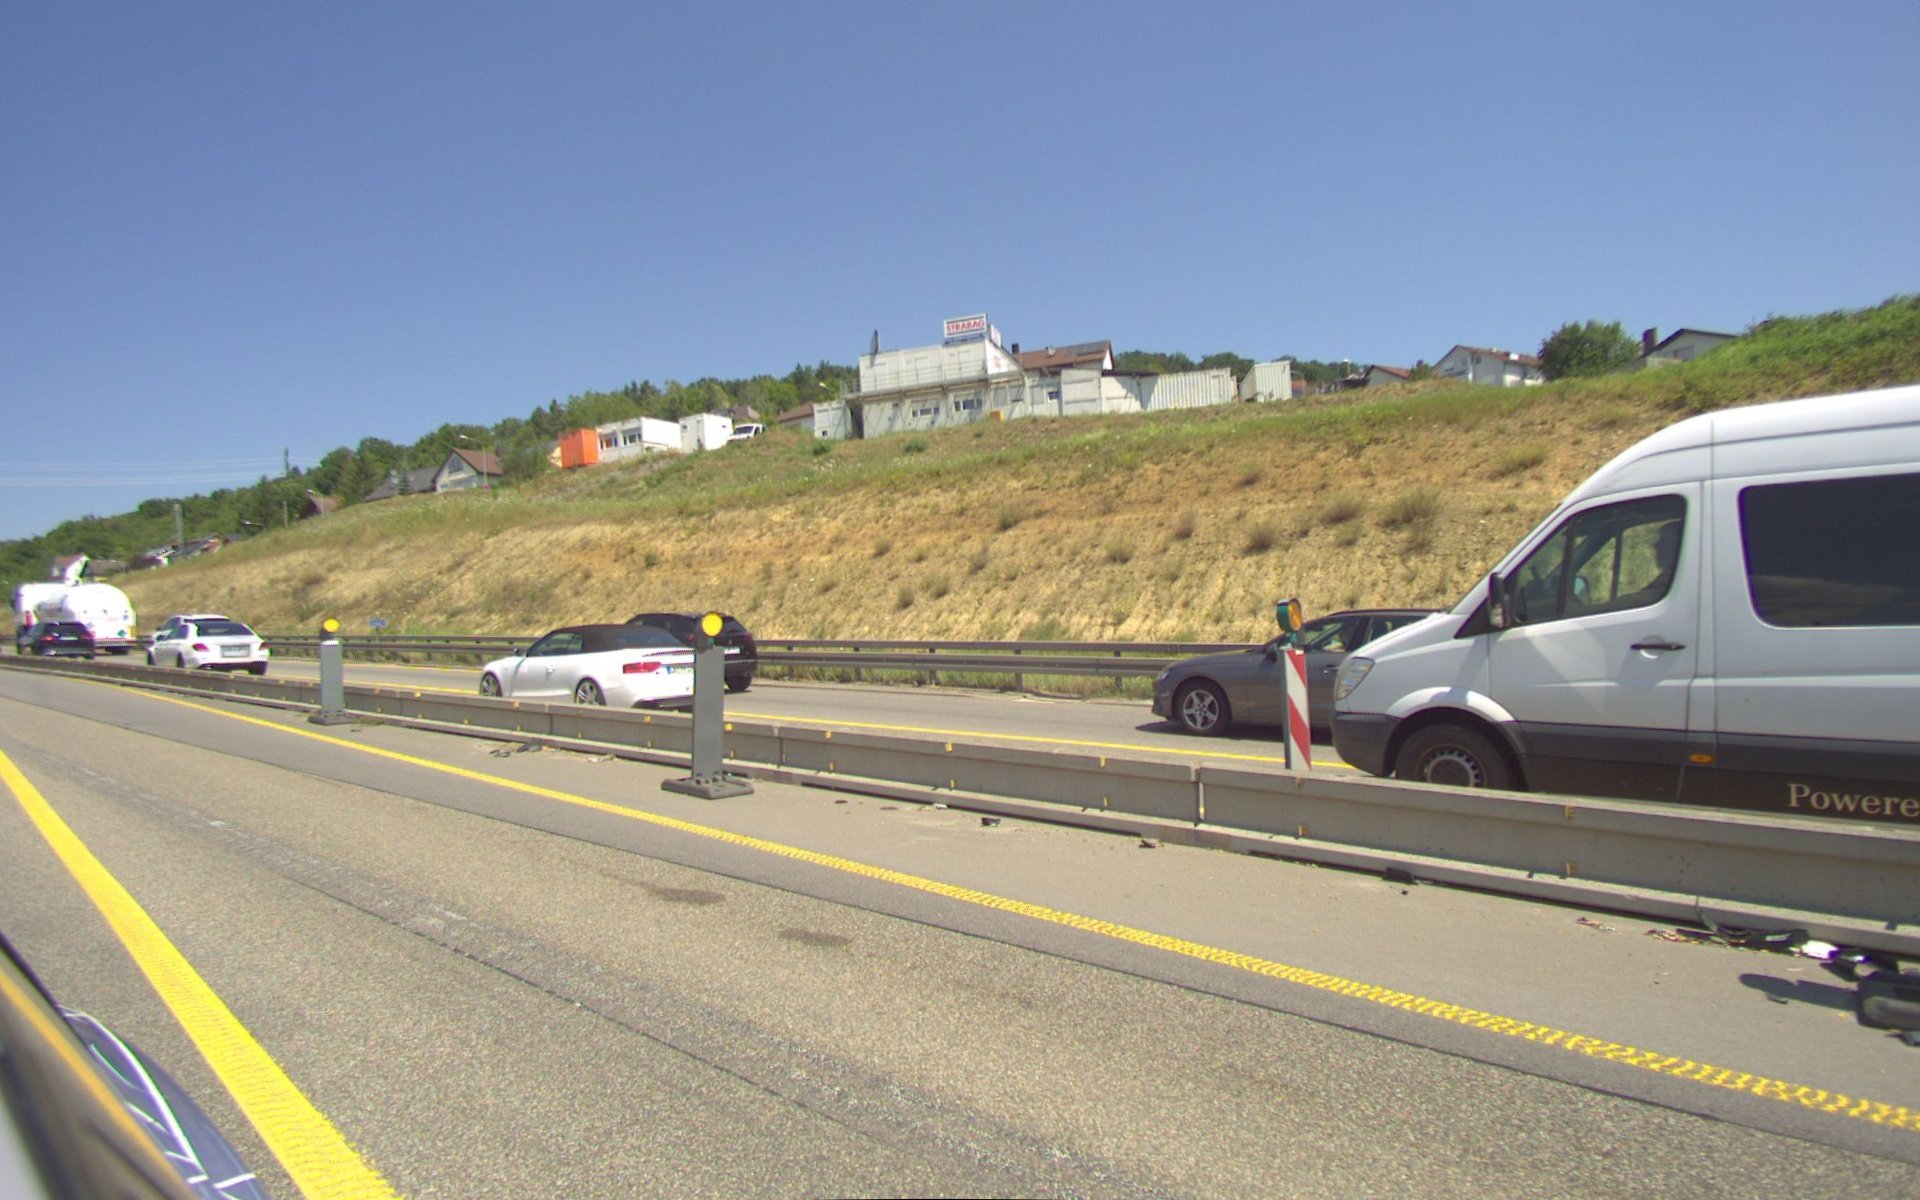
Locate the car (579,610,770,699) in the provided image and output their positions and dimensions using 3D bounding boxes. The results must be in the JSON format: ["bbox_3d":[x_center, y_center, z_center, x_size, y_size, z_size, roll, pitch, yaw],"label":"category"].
[{"bbox_3d":[-5.657,1.024,19.850,3.998,1.543,1.676,-2,-1,41],"label":"car"}]

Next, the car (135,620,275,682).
[{"bbox_3d":[-20.527,1.353,27.435,4.936,1.475,1.942,-2,-1,40],"label":"car"}]

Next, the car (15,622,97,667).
[{"bbox_3d":[-36.008,1.748,40.277,4.729,1.624,1.773,-2,-1,40],"label":"car"}]

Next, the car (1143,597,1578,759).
[{"bbox_3d":[4.283,0.758,11.238,4.127,1.458,1.746,-2,-1,42],"label":"car"}]

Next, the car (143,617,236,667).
[{"bbox_3d":[-29.530,1.590,38.726,4.531,1.776,1.773,-2,-2,38],"label":"car"}]

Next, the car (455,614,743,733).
[{"bbox_3d":[-5.413,1.001,14.880,4.630,1.458,1.783,-2,-1,38],"label":"car"}]

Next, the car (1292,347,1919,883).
[{"bbox_3d":[5.619,0.056,5.466,7.006,2.626,1.973,-2,-1,41],"label":"car"}]

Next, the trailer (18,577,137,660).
[{"bbox_3d":[-44.948,1.000,51.355,11.904,3.830,2.565,-2,-1,39],"label":"trailer"}]

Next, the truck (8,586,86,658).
[{"bbox_3d":[-50.110,1.205,55.532,3.762,3.830,2.565,-2,-1,39],"label":"truck"}]
